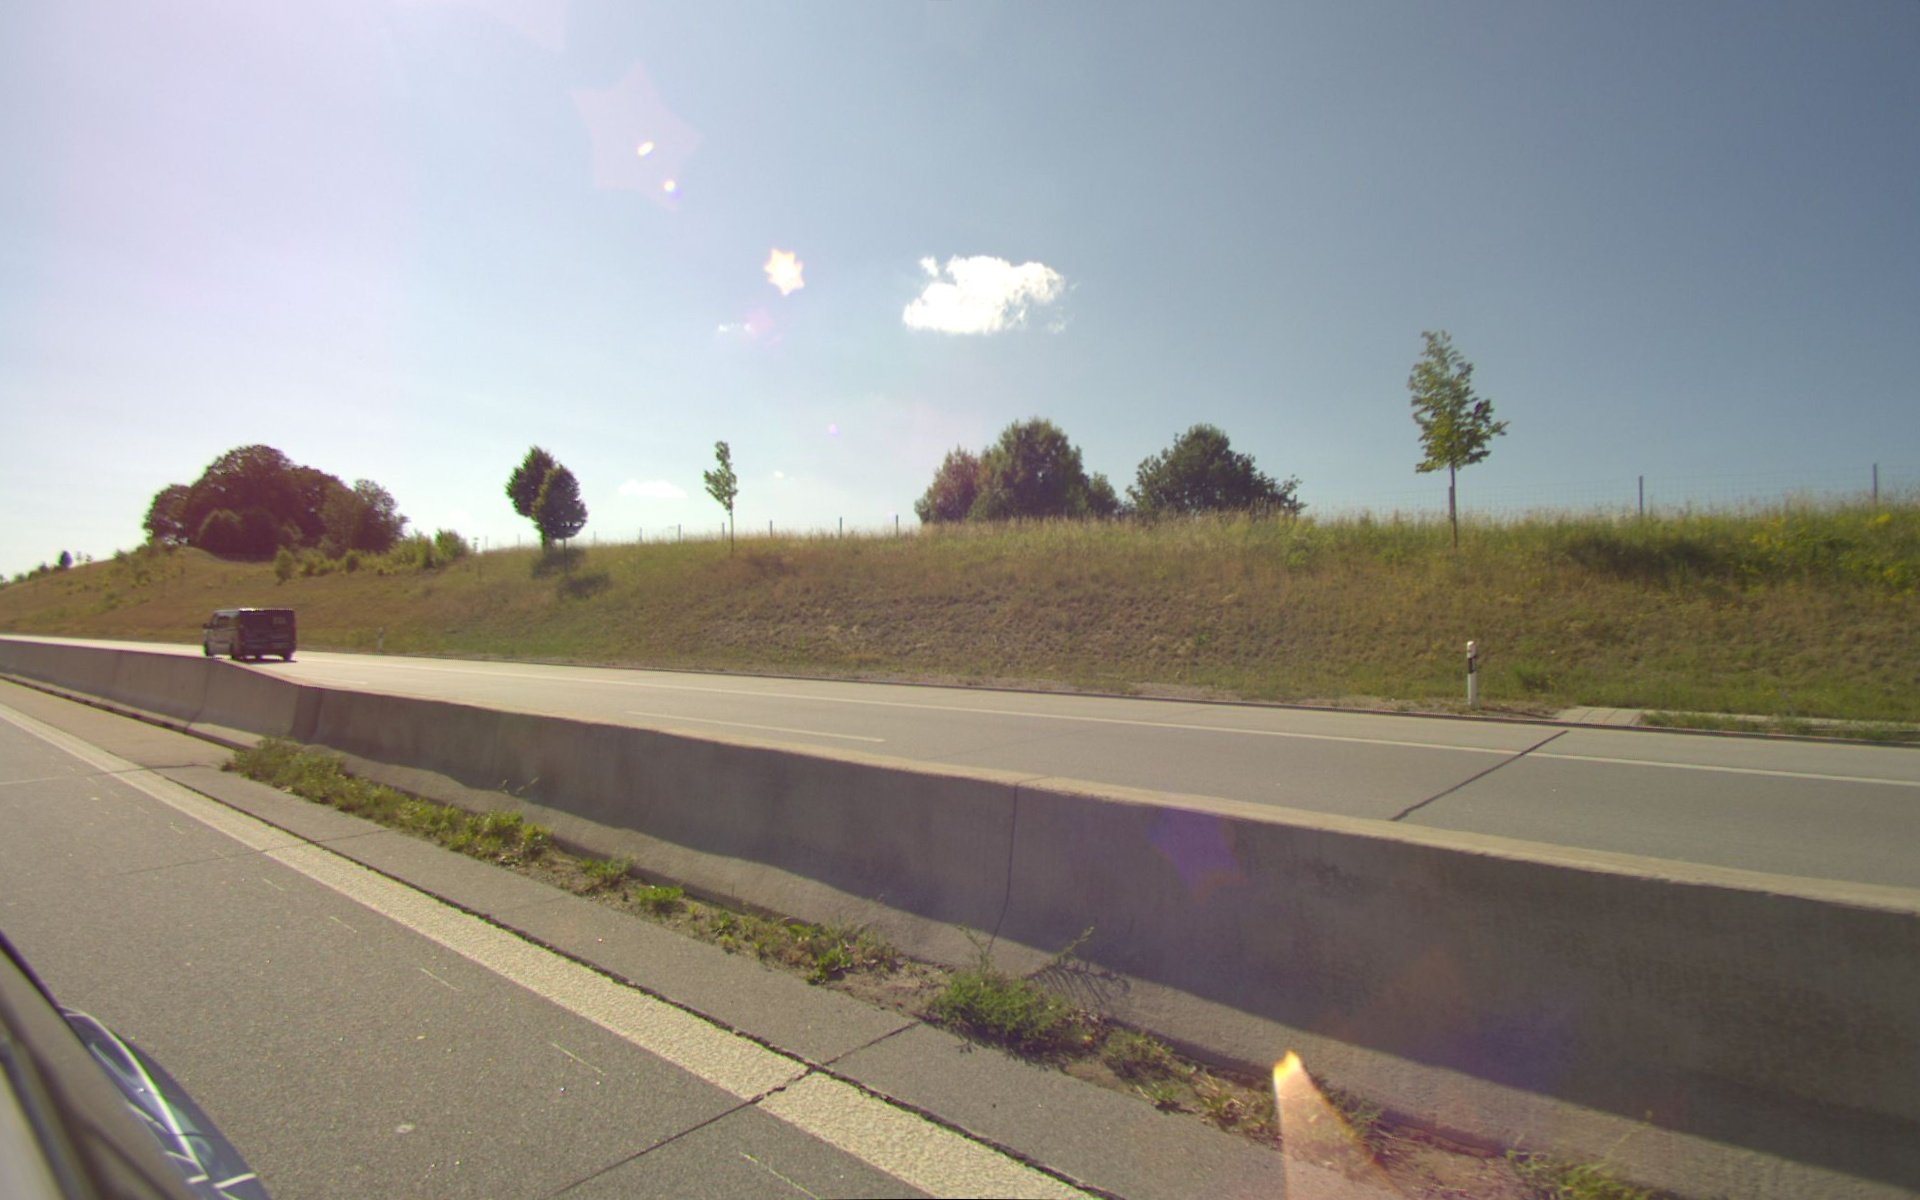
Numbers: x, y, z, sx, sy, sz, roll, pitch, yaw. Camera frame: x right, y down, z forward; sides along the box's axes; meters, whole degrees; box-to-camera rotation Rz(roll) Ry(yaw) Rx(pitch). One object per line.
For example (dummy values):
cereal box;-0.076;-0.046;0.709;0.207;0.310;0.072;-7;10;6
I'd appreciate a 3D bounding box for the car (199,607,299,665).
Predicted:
car;-26.922;1.318;38.275;4.967;2.029;1.973;-1;-1;41
